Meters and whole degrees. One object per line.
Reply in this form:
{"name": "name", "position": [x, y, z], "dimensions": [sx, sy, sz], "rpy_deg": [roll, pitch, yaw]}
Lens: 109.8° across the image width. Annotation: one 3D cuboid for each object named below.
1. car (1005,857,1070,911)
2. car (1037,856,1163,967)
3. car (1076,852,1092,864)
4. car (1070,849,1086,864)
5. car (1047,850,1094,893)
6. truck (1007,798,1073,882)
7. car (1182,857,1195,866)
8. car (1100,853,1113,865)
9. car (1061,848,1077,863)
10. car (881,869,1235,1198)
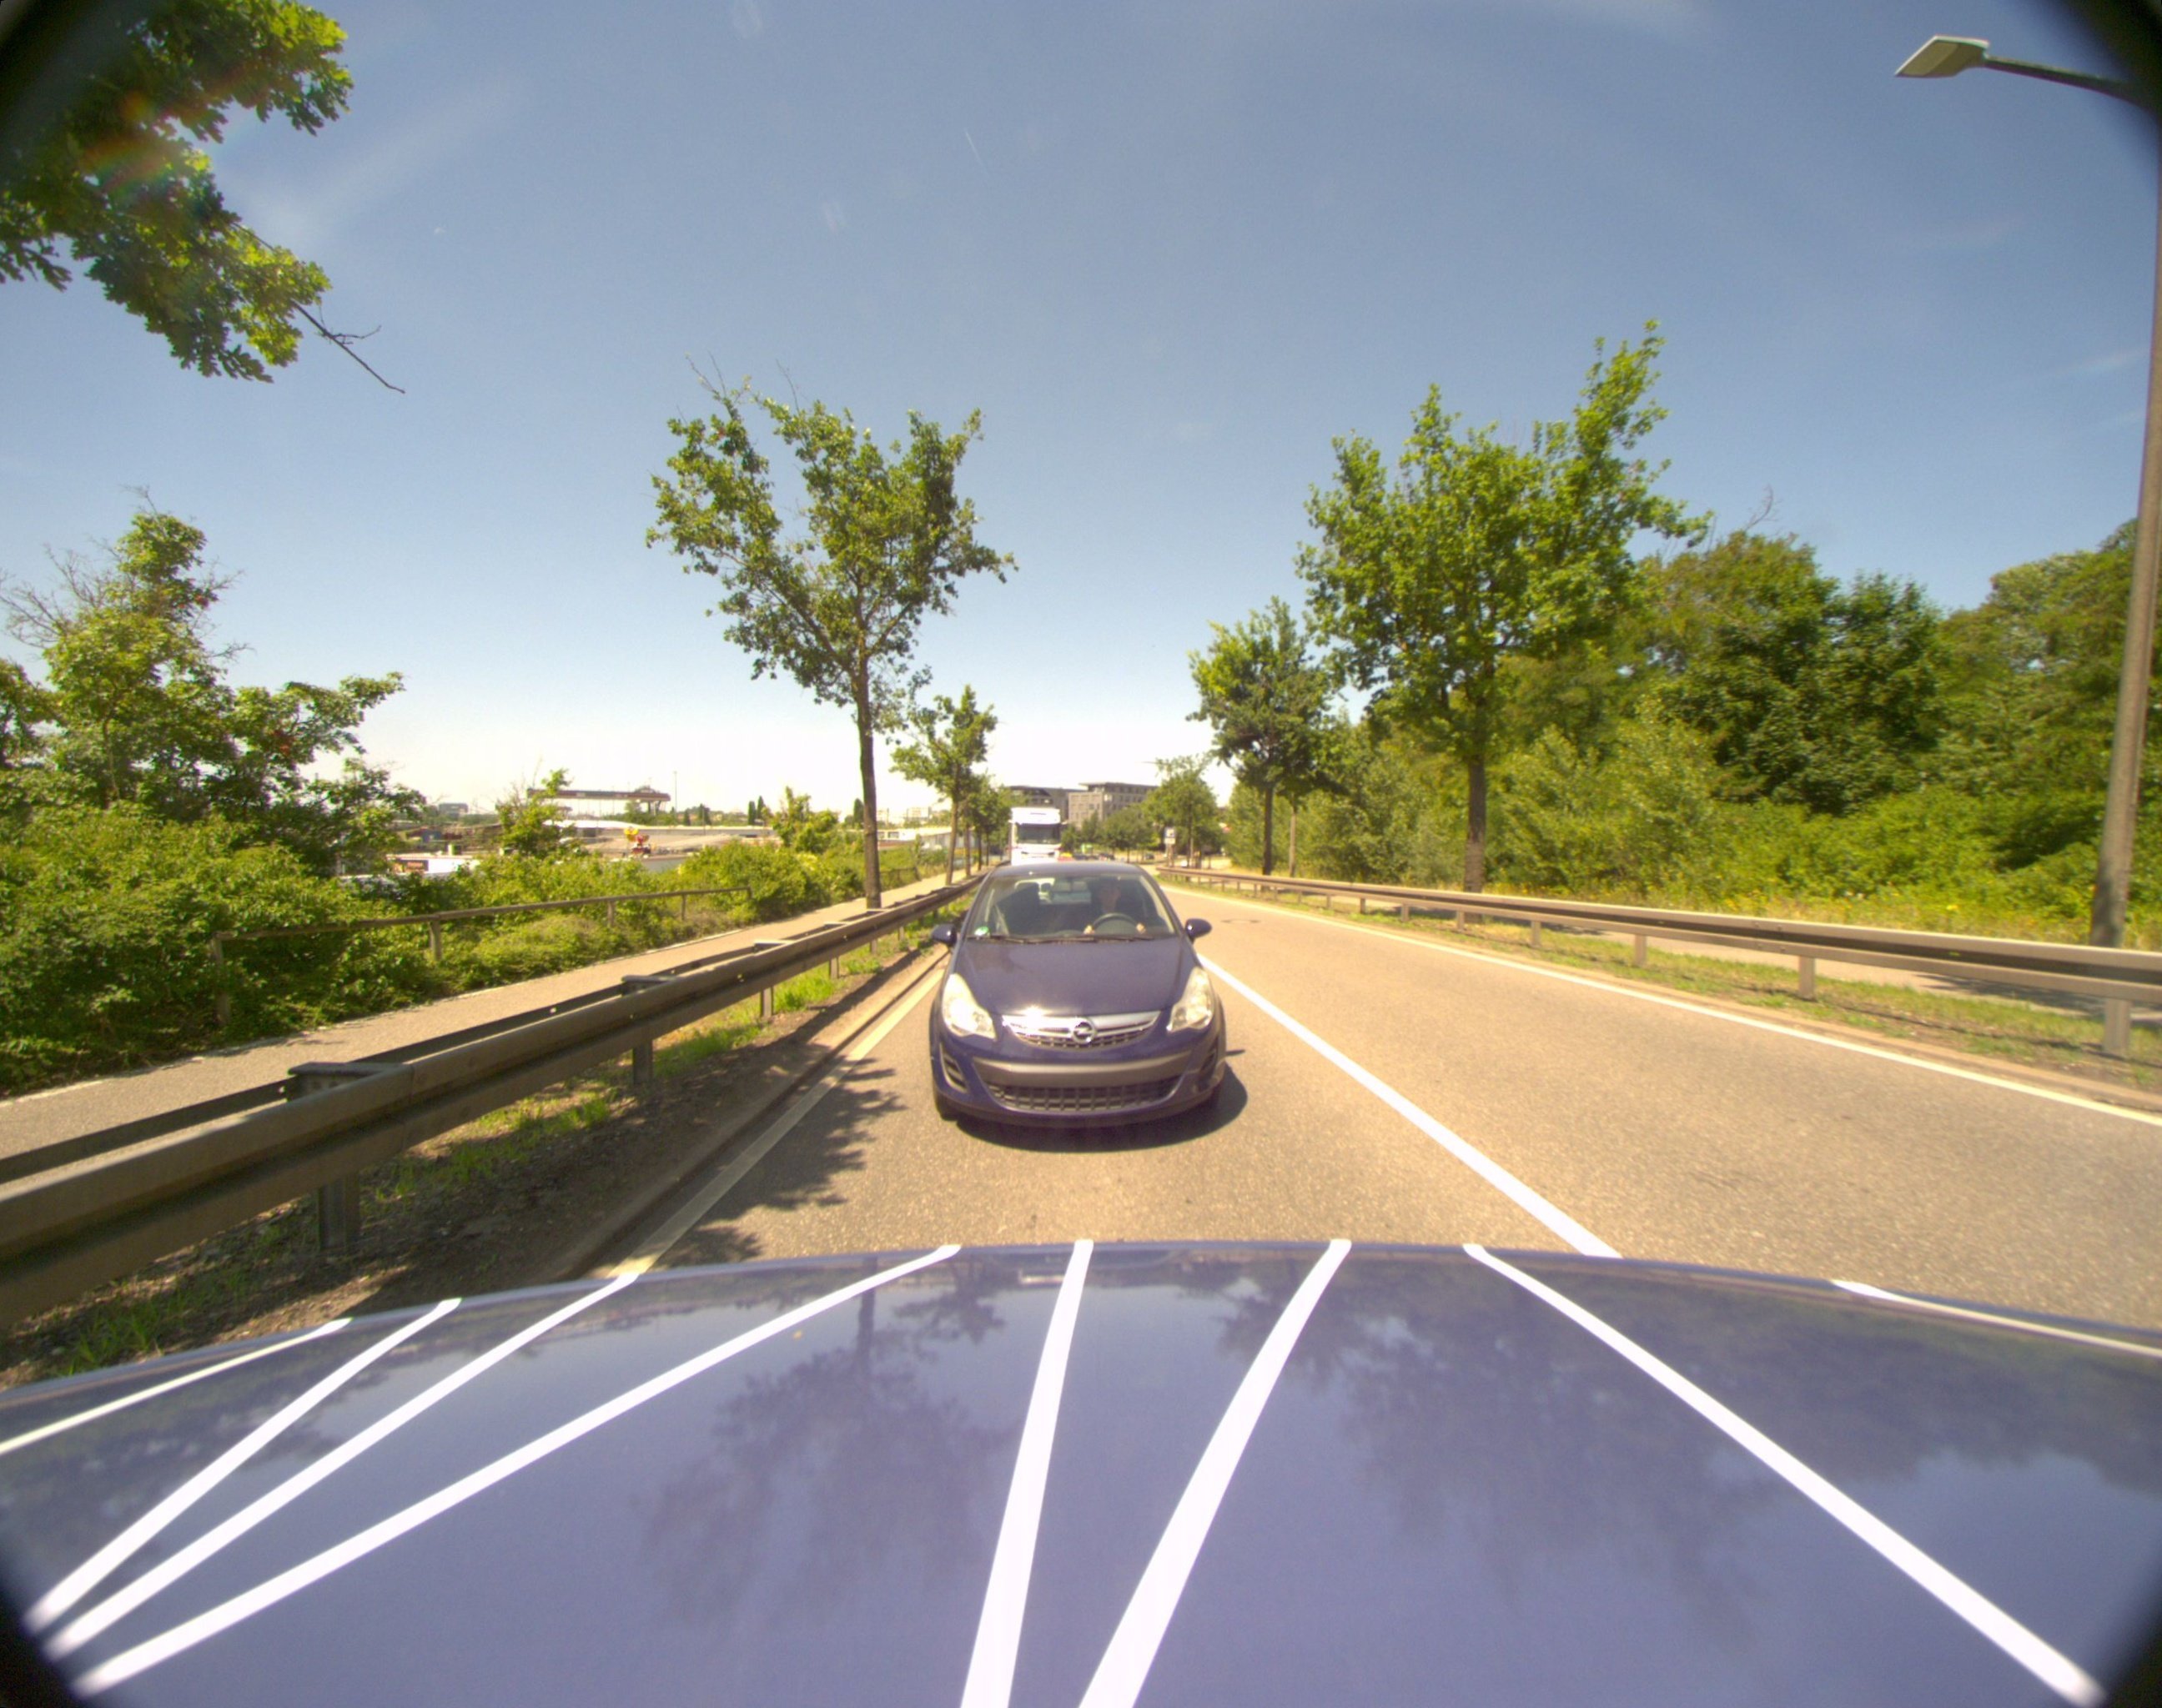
{"name": "car", "position": [-1.377, 0.851, 23.374], "dimensions": [1.781, 1.398, 3.998], "rpy_deg": [-2, 1, -4]}
{"name": "car", "position": [0.242, 0.840, 13.011], "dimensions": [1.780, 1.498, 3.895], "rpy_deg": [-2, 1, -1]}
{"name": "car", "position": [0.465, 0.608, 116.745], "dimensions": [1.779, 1.657, 4.002], "rpy_deg": [-2, 1, 8]}
{"name": "car", "position": [-0.415, 0.397, 107.911], "dimensions": [1.779, 2.002, 4.001], "rpy_deg": [-2, 1, 5]}
{"name": "car", "position": [-0.486, 0.665, 31.523], "dimensions": [1.780, 1.569, 3.998], "rpy_deg": [-2, 1, -2]}
{"name": "truck", "position": [-2.873, -0.783, 46.762], "dimensions": [3.072, 4.146, 16.900], "rpy_deg": [-2, 1, -6]}
{"name": "car", "position": [18.647, 1.236, 131.809], "dimensions": [1.778, 1.435, 4.003], "rpy_deg": [-2, 1, 13]}
{"name": "car", "position": [4.548, 0.843, 136.275], "dimensions": [1.779, 2.002, 4.002], "rpy_deg": [-2, 1, 9]}
{"name": "car", "position": [-1.475, 0.168, 92.227], "dimensions": [1.743, 1.608, 4.000], "rpy_deg": [-2, 1, 1]}
{"name": "car", "position": [-0.186, 0.929, 5.711], "dimensions": [1.720, 1.455, 3.836], "rpy_deg": [-2, 1, -3]}
